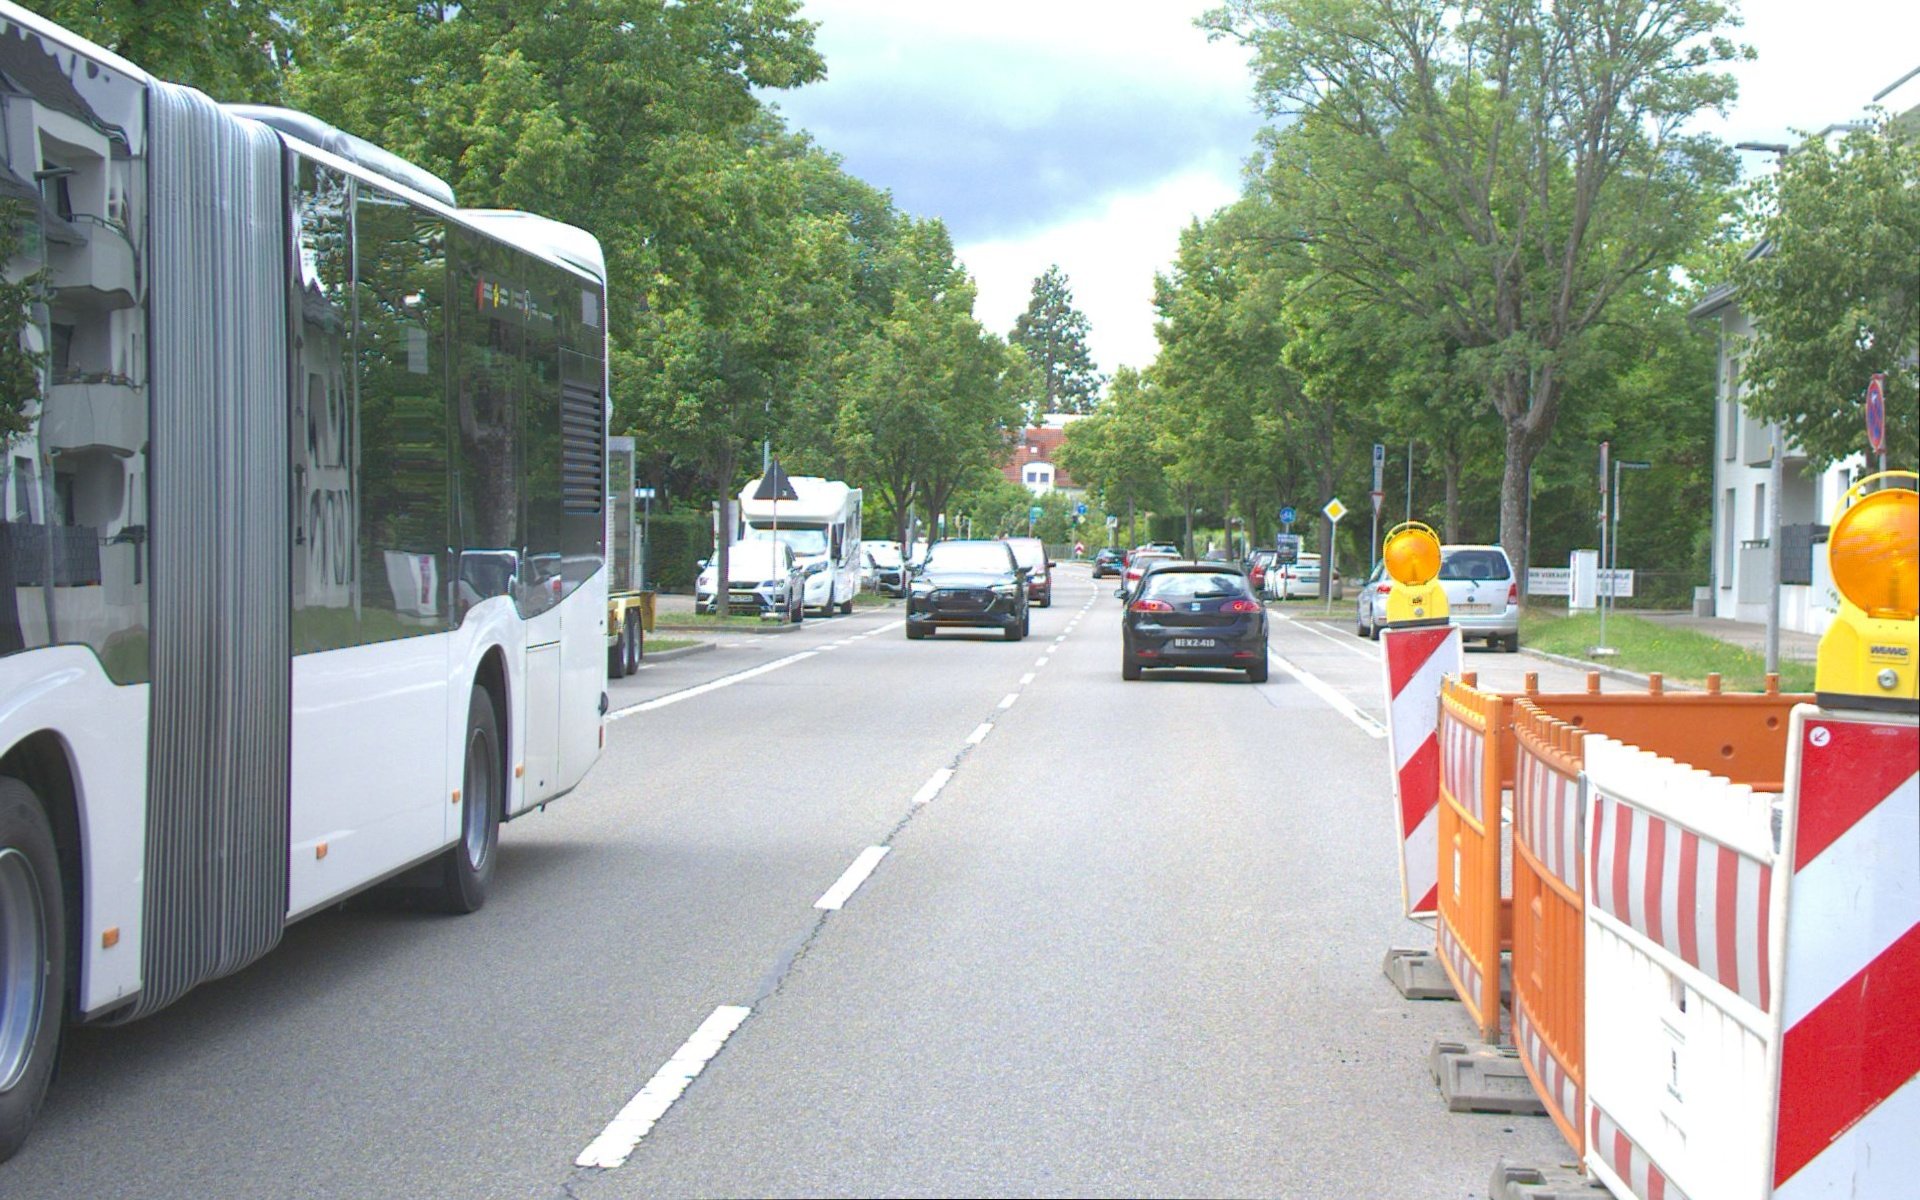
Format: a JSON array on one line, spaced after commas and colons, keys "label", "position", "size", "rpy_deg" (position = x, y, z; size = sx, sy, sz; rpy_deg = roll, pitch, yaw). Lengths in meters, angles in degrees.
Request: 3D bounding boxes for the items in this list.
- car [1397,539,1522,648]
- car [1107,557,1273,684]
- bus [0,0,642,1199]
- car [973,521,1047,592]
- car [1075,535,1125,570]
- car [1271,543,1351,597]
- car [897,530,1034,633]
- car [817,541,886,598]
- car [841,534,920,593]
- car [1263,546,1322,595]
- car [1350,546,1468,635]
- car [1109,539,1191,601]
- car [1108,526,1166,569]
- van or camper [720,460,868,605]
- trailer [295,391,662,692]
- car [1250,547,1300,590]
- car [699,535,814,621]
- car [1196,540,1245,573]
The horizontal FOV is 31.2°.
[{"label": "car", "position": [7.982, -0.134, 55.185], "size": [1.633, 1.660, 3.647], "rpy_deg": [1, 1, 3]}, {"label": "car", "position": [2.736, 0.215, 41.607], "size": [1.783, 1.444, 3.558], "rpy_deg": [1, 1, 1]}, {"label": "bus", "position": [-3.534, -0.210, 8.828], "size": [2.805, 3.277, 18.043], "rpy_deg": [1, 0, 3]}, {"label": "car", "position": [1.332, -1.146, 90.308], "size": [1.760, 1.797, 4.768], "rpy_deg": [1, 1, 3]}, {"label": "car", "position": [6.477, -2.198, 159.553], "size": [1.993, 1.503, 4.000], "rpy_deg": [2, 0, -2]}, {"label": "car", "position": [10.050, -0.876, 98.721], "size": [2.021, 1.438, 5.024], "rpy_deg": [2, 1, 3]}, {"label": "car", "position": [0.138, -0.332, 58.466], "size": [1.994, 1.662, 4.589], "rpy_deg": [0, 1, 4]}, {"label": "car", "position": [-2.868, -0.827, 91.589], "size": [1.555, 1.465, 4.452], "rpy_deg": [1, 1, 1]}, {"label": "car", "position": [-2.319, -1.094, 101.386], "size": [1.817, 1.646, 4.698], "rpy_deg": [2, 1, 5]}, {"label": "car", "position": [10.339, -0.932, 107.125], "size": [1.616, 1.455, 3.657], "rpy_deg": [1, 1, 3]}, {"label": "car", "position": [7.892, -0.196, 60.764], "size": [1.687, 1.488, 4.227], "rpy_deg": [1, 1, 2]}, {"label": "car", "position": [4.966, -0.787, 90.361], "size": [1.993, 1.552, 4.000], "rpy_deg": [1, 0, 1]}, {"label": "car", "position": [6.483, -1.936, 126.261], "size": [1.993, 1.525, 4.000], "rpy_deg": [1, 1, 1]}, {"label": "van or camper", "position": [-3.560, -1.468, 75.578], "size": [2.435, 2.999, 7.692], "rpy_deg": [1, 1, 3]}, {"label": "trailer", "position": [-5.132, -0.602, 38.055], "size": [2.674, 2.931, 7.475], "rpy_deg": [2, 0, 2]}, {"label": "car", "position": [10.887, -1.103, 119.008], "size": [1.638, 1.415, 4.000], "rpy_deg": [1, 1, 4]}, {"label": "car", "position": [-3.931, -0.450, 66.982], "size": [1.723, 1.595, 4.272], "rpy_deg": [1, 1, 3]}, {"label": "car", "position": [11.652, -1.952, 154.019], "size": [1.683, 1.427, 4.045], "rpy_deg": [1, 1, -2]}]
